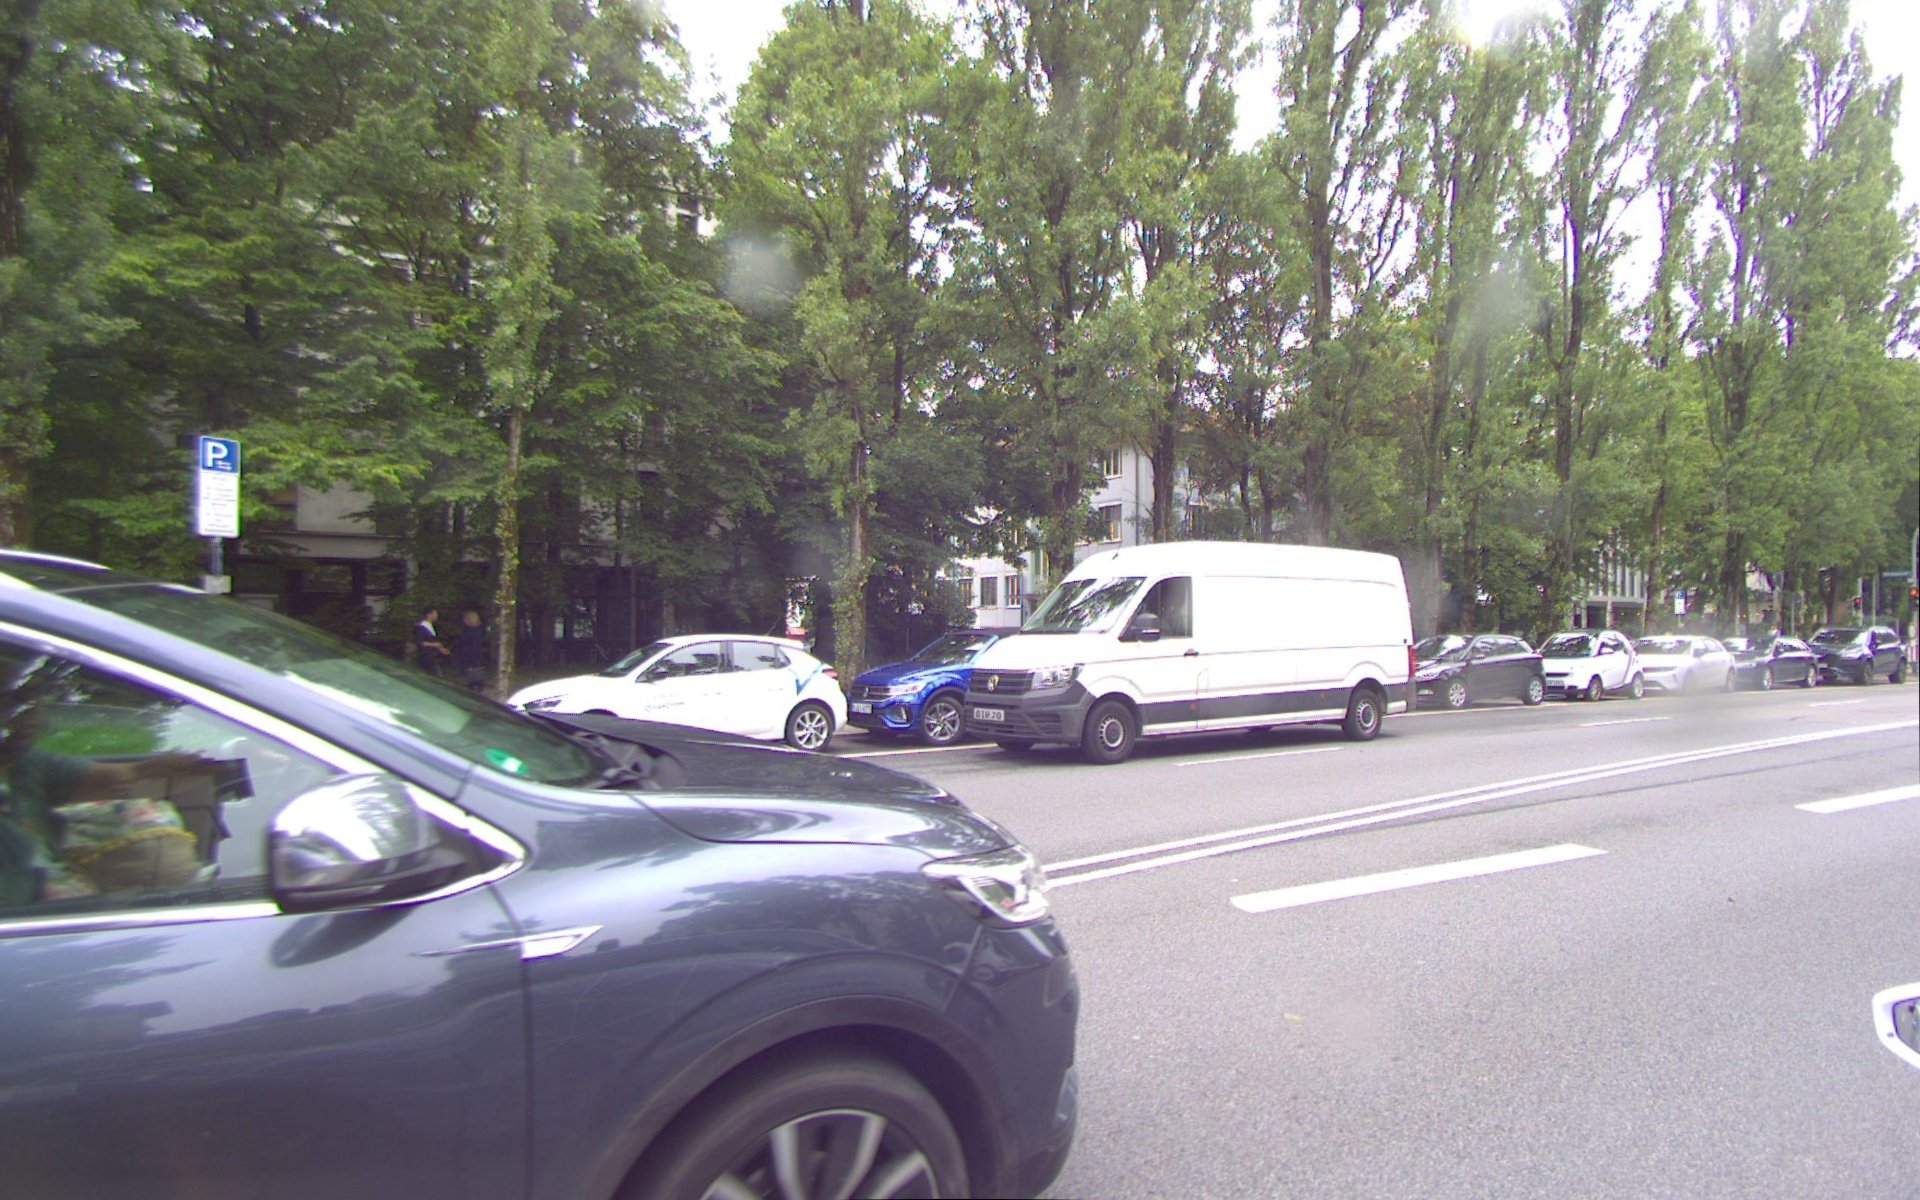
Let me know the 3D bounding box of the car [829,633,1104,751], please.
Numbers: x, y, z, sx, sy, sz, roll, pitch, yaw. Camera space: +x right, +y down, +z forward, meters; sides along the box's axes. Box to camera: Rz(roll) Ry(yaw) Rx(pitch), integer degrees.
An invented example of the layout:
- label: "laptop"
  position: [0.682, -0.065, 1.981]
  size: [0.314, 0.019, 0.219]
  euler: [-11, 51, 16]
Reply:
- label: "car"
  position: [0.119, 1.219, 14.179]
  size: [3.547, 1.470, 1.700]
  euler: [1, -3, -32]

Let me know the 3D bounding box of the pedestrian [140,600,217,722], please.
- label: "pedestrian"
  position: [-11.159, 0.854, 14.373]
  size: [0.742, 1.686, 0.735]
  euler: [1, -1, -30]

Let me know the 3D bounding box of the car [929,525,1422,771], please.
- label: "car"
  position: [3.013, 0.601, 13.073]
  size: [6.685, 2.515, 2.215]
  euler: [1, -3, -33]

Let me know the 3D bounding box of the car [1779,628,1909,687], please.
- label: "car"
  position: [27.321, 1.745, 31.015]
  size: [4.646, 1.675, 1.838]
  euler: [1, -3, -34]

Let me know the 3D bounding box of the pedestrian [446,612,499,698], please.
- label: "pedestrian"
  position: [-9.496, 1.053, 19.558]
  size: [0.871, 1.620, 0.733]
  euler: [1, 0, -30]

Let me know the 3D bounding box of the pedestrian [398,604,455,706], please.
- label: "pedestrian"
  position: [-9.777, 0.987, 18.401]
  size: [0.879, 1.795, 0.733]
  euler: [1, 0, -30]

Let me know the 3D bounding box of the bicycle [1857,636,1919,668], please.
- label: "bicycle"
  position: [38.007, 2.079, 40.588]
  size: [0.800, 1.254, 2.532]
  euler: [1, -1, -20]

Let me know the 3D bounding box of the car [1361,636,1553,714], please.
- label: "car"
  position: [10.058, 1.478, 20.302]
  size: [3.805, 1.444, 1.594]
  euler: [1, -4, -30]

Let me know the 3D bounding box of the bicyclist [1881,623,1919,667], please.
- label: "bicyclist"
  position: [38.005, 1.818, 40.594]
  size: [0.812, 1.745, 0.904]
  euler: [1, -1, -21]

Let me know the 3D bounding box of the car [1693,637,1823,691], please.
- label: "car"
  position: [22.275, 1.756, 27.994]
  size: [4.123, 1.407, 1.614]
  euler: [1, -3, -34]

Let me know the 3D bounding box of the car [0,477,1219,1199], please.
- label: "car"
  position: [-1.673, 0.657, 1.893]
  size: [4.137, 1.607, 1.826]
  euler: [1, 0, -31]

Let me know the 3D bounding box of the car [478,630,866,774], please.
- label: "car"
  position: [-3.403, 1.126, 12.122]
  size: [4.187, 1.471, 1.761]
  euler: [1, -4, -33]

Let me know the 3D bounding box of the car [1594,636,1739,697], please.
- label: "car"
  position: [17.666, 1.629, 25.059]
  size: [4.124, 1.407, 1.614]
  euler: [1, -3, -35]

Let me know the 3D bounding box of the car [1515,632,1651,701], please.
- label: "car"
  position: [14.165, 1.490, 22.835]
  size: [2.932, 1.466, 1.420]
  euler: [1, -4, -31]
